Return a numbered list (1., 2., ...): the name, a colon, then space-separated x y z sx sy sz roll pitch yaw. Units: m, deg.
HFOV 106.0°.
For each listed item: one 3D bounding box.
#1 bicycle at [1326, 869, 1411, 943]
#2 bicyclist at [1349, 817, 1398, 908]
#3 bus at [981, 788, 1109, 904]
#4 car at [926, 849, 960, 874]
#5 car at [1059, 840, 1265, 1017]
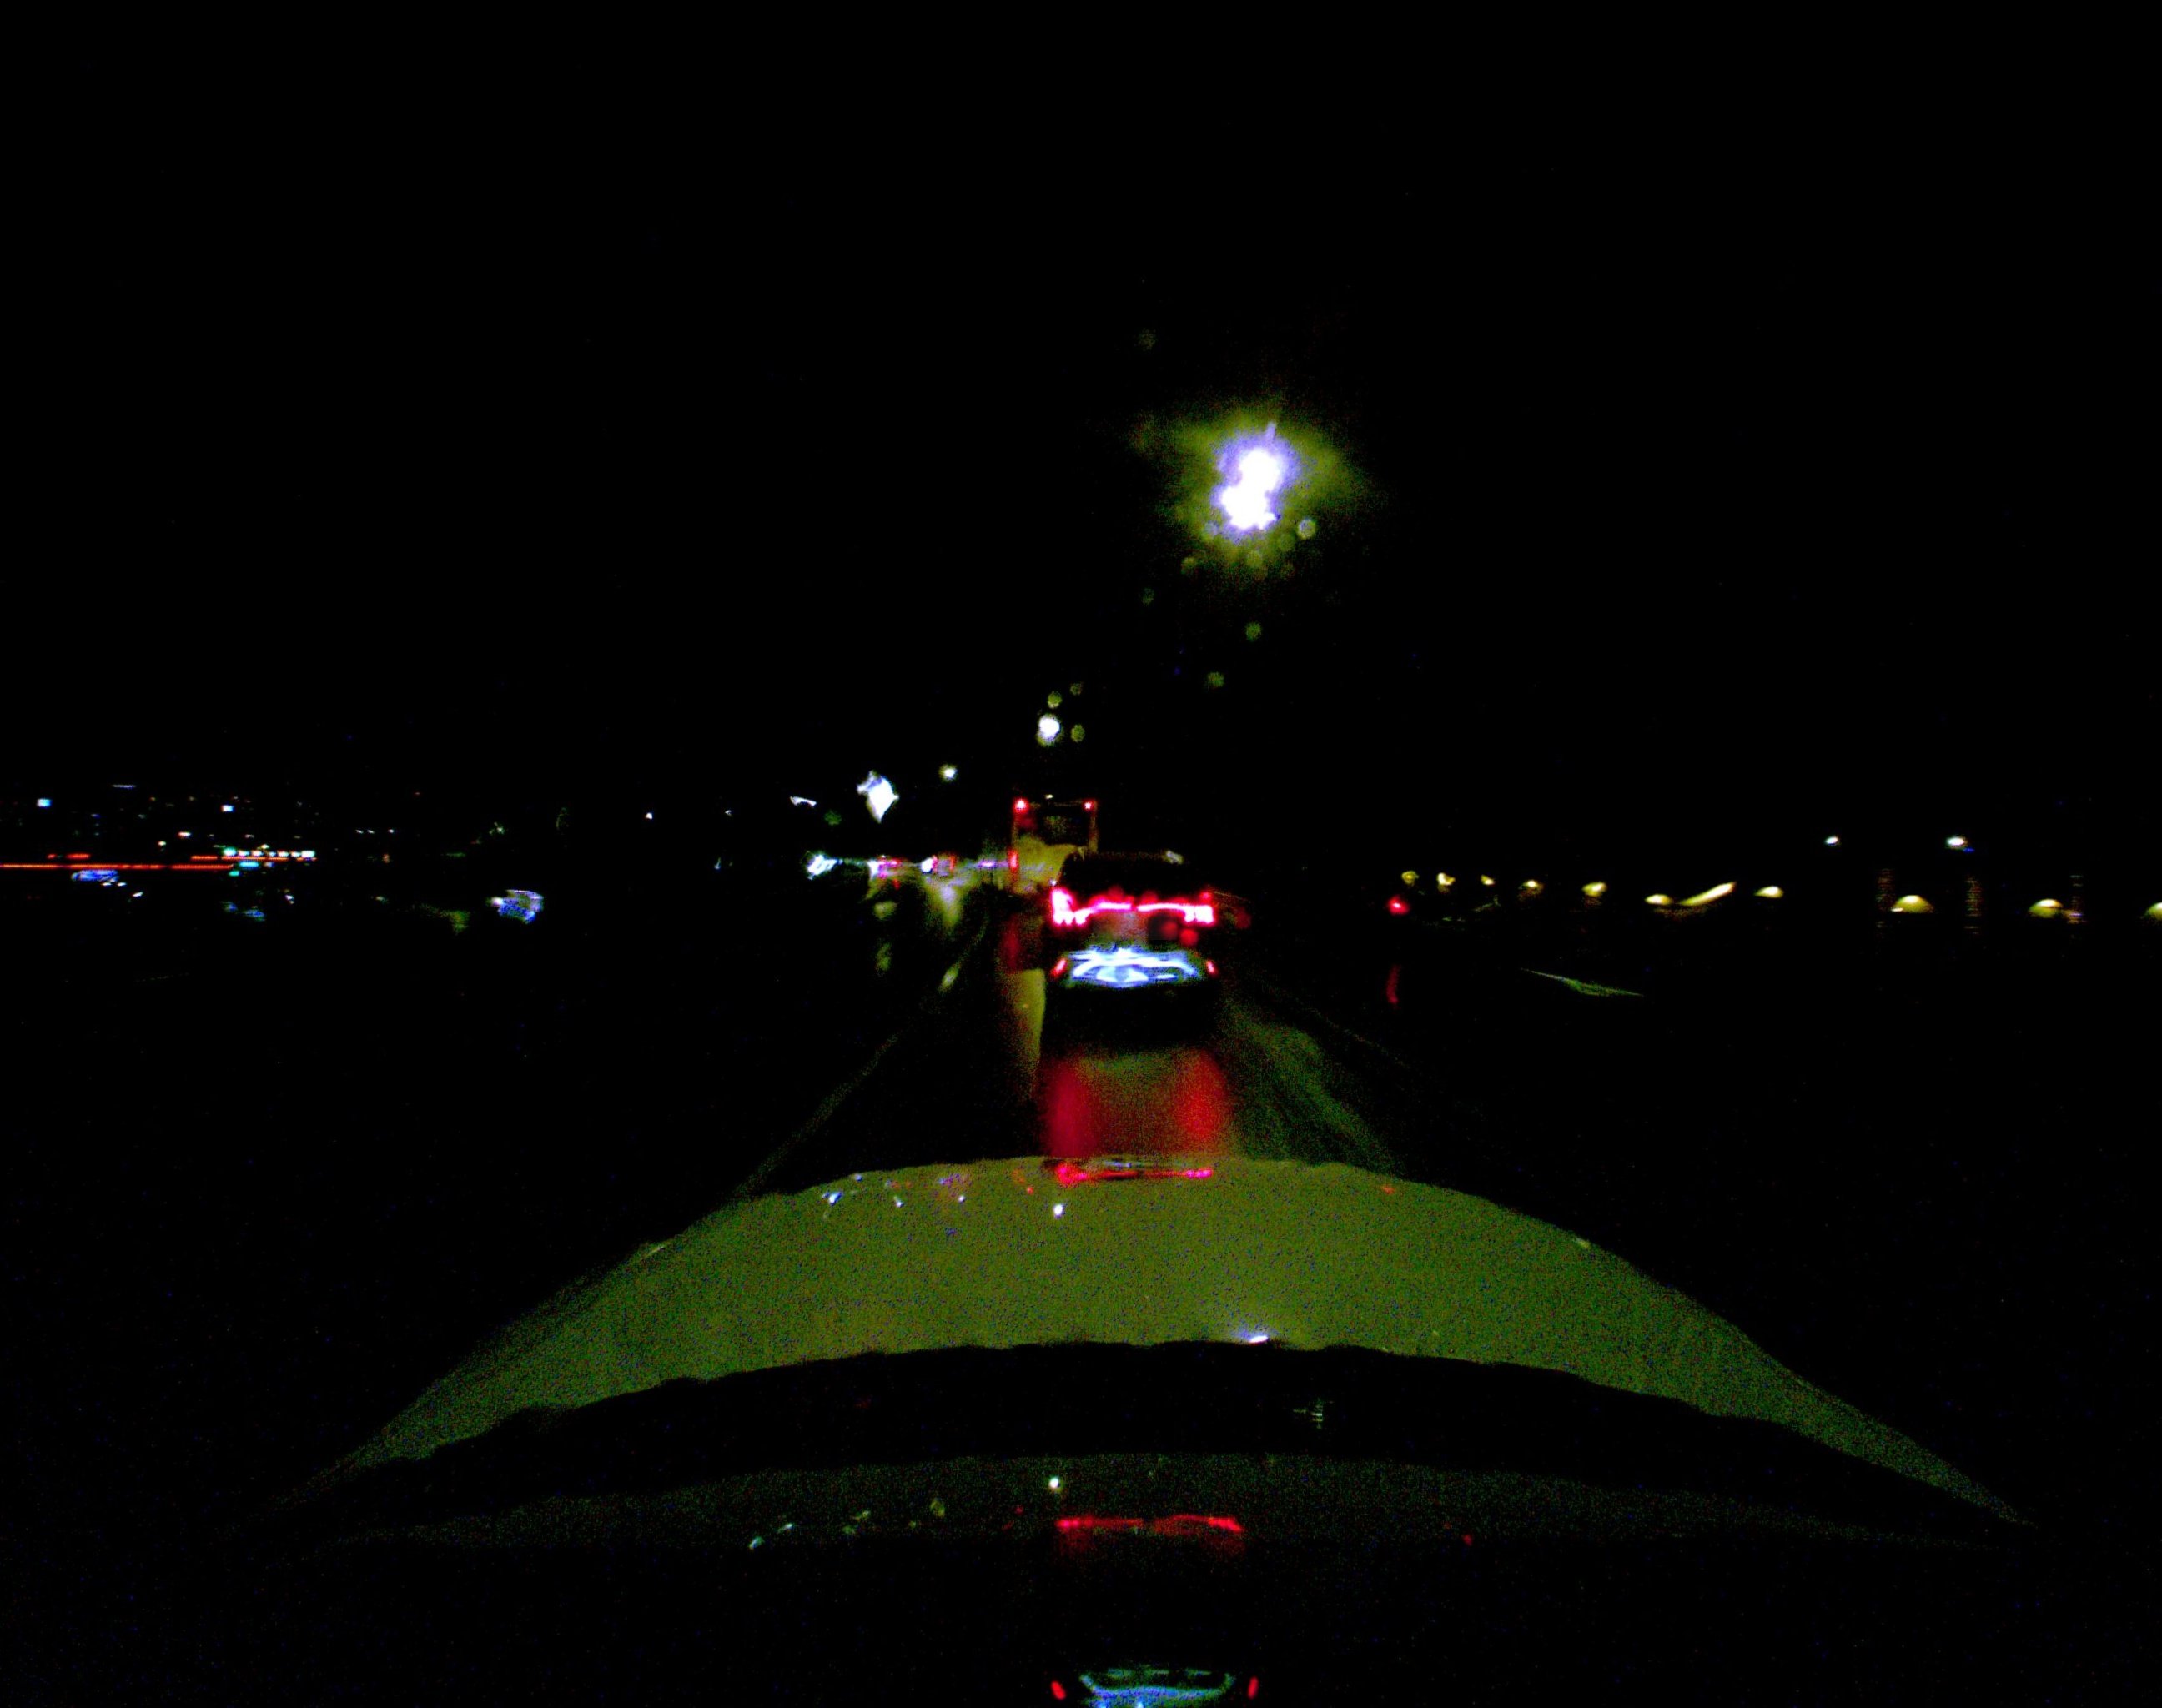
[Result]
1. bicycle: 4.461 0.767 12.794 0.483 1.034 2.169 0 0 -3
2. bicyclist: 4.491 0.124 12.529 0.451 1.349 0.763 0 0 -3
3. bus: -1.746 -0.259 28.726 3.083 3.132 12.657 -1 0 -9
4. car: -10.168 0.568 59.677 1.643 1.656 3.680 0 -3 -23
5. car: 0.770 0.688 9.364 1.849 1.586 4.000 0 0 1
